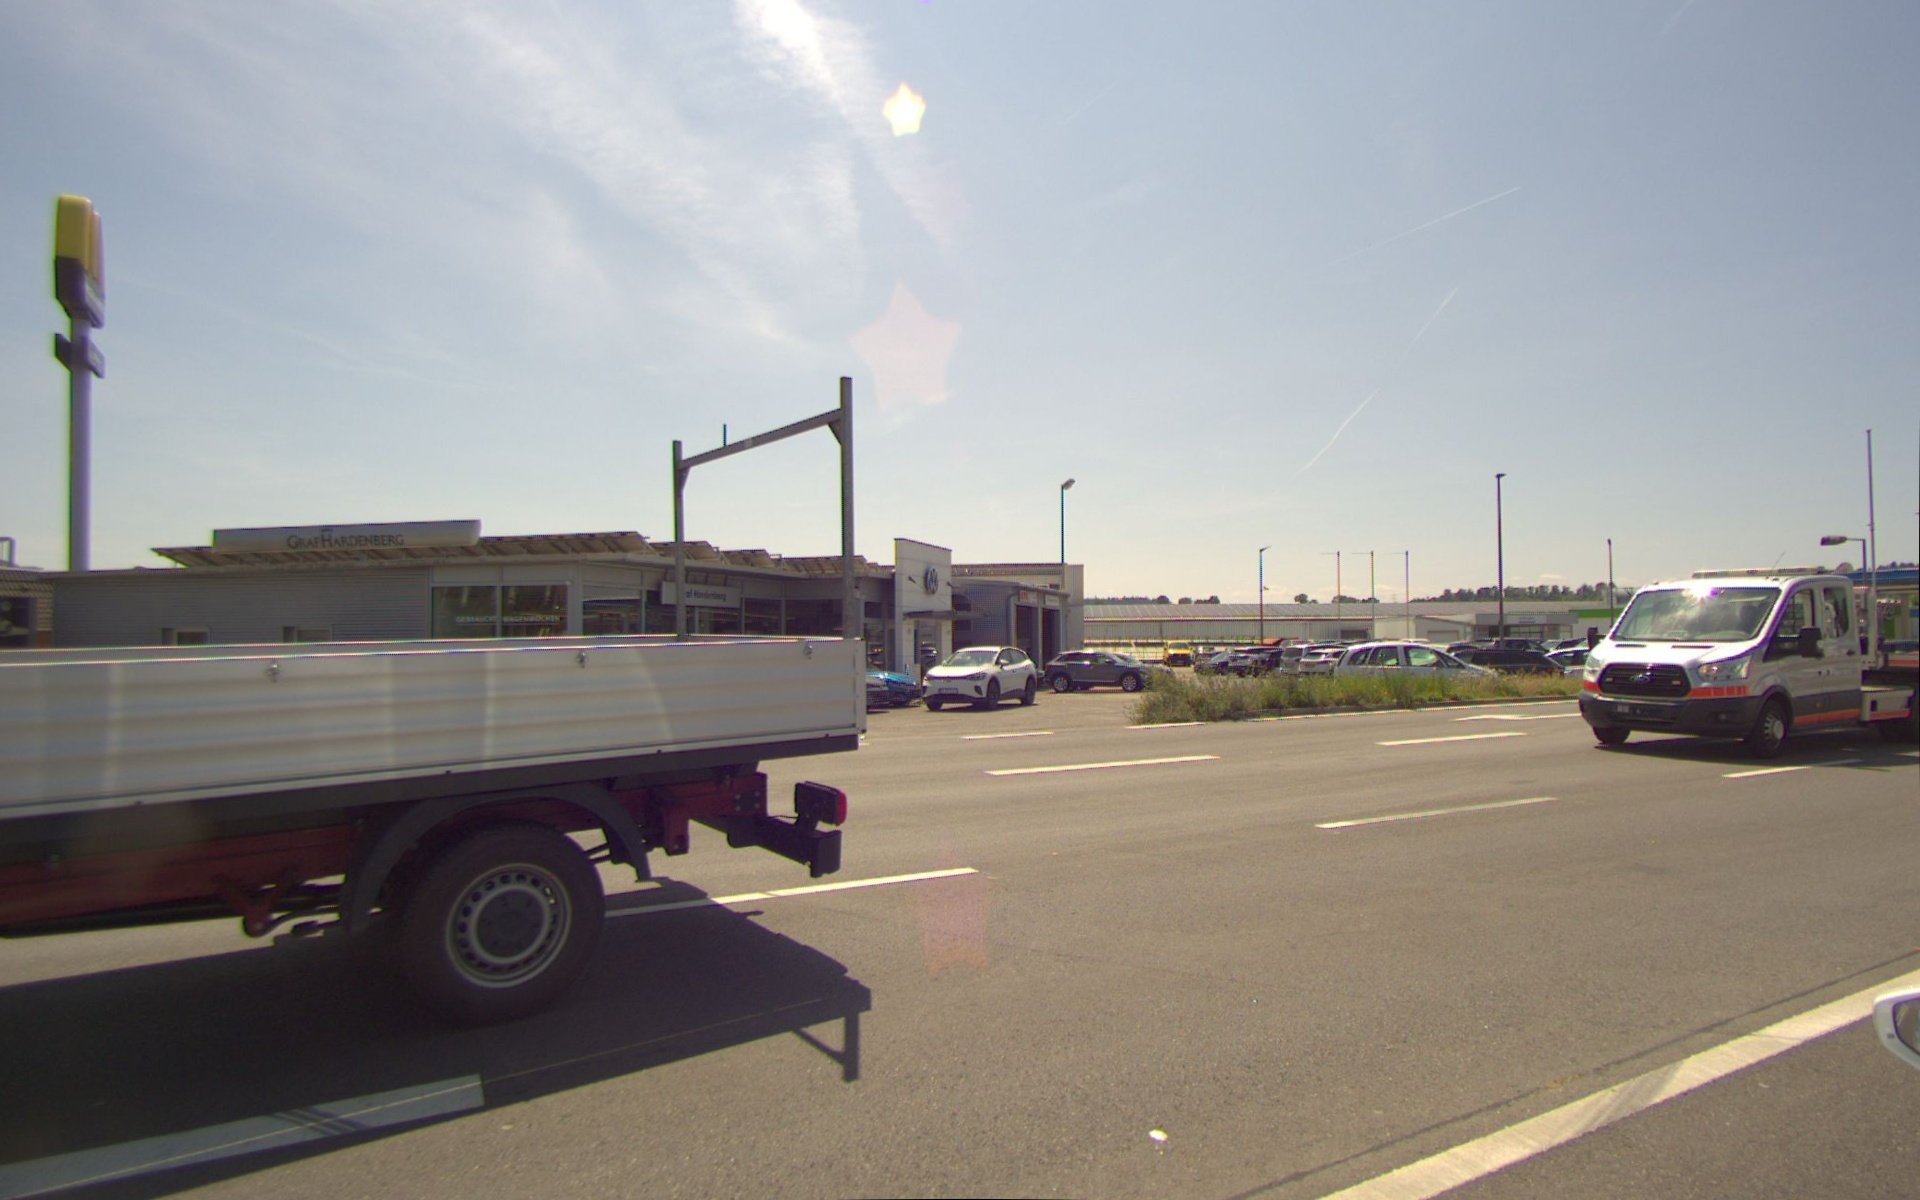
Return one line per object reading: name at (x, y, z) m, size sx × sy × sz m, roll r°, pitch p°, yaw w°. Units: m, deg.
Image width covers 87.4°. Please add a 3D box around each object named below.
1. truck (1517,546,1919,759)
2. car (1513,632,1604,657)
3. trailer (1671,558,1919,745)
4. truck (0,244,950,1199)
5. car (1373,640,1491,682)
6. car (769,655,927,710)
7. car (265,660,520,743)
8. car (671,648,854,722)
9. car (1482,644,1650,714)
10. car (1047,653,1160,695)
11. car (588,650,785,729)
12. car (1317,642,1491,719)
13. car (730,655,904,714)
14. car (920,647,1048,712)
truck at (10.473, 0.690, 13.524) m, size 5.600 × 2.371 × 2.418 m, roll 1°, pitch -3°, yaw -26°
car at (33.770, 2.512, 56.728) m, size 1.688 × 1.326 × 4.127 m, roll 2°, pitch -3°, yaw -44°
trailer at (14.198, 0.783, 15.387) m, size 6.806 × 2.368 × 2.421 m, roll 1°, pitch -4°, yaw -27°
truck at (-3.599, 0.308, 3.351) m, size 6.785 × 2.477 × 2.387 m, roll 2°, pitch -1°, yaw -28°
car at (18.096, 2.295, 38.482) m, size 4.407 × 1.483 × 1.984 m, roll 1°, pitch -1°, yaw -31°
car at (-3.160, 2.289, 28.394) m, size 4.091 × 1.429 × 1.823 m, roll -1°, pitch -3°, yaw 22°
car at (-10.649, 1.871, 18.979) m, size 3.901 × 1.434 × 1.772 m, roll -1°, pitch -3°, yaw 9°
car at (-4.641, 1.936, 23.581) m, size 3.926 × 1.594 × 1.821 m, roll -2°, pitch -3°, yaw 27°
car at (16.534, 2.107, 27.506) m, size 3.802 × 1.773 × 1.796 m, roll -1°, pitch -2°, yaw 33°
car at (5.371, 2.740, 37.437) m, size 3.920 × 1.481 × 1.901 m, roll -1°, pitch -2°, yaw 17°
car at (-5.949, 1.876, 21.786) m, size 4.067 × 1.565 × 1.820 m, roll -2°, pitch -3°, yaw 30°
car at (11.083, 1.934, 25.105) m, size 3.800 × 1.773 × 1.871 m, roll -1°, pitch -2°, yaw 31°
car at (-3.690, 2.138, 25.935) m, size 4.091 × 1.429 × 1.823 m, roll -1°, pitch -3°, yaw 22°
car at (0.753, 2.074, 27.185) m, size 1.789 × 1.594 × 4.676 m, roll -1°, pitch -3°, yaw 24°
